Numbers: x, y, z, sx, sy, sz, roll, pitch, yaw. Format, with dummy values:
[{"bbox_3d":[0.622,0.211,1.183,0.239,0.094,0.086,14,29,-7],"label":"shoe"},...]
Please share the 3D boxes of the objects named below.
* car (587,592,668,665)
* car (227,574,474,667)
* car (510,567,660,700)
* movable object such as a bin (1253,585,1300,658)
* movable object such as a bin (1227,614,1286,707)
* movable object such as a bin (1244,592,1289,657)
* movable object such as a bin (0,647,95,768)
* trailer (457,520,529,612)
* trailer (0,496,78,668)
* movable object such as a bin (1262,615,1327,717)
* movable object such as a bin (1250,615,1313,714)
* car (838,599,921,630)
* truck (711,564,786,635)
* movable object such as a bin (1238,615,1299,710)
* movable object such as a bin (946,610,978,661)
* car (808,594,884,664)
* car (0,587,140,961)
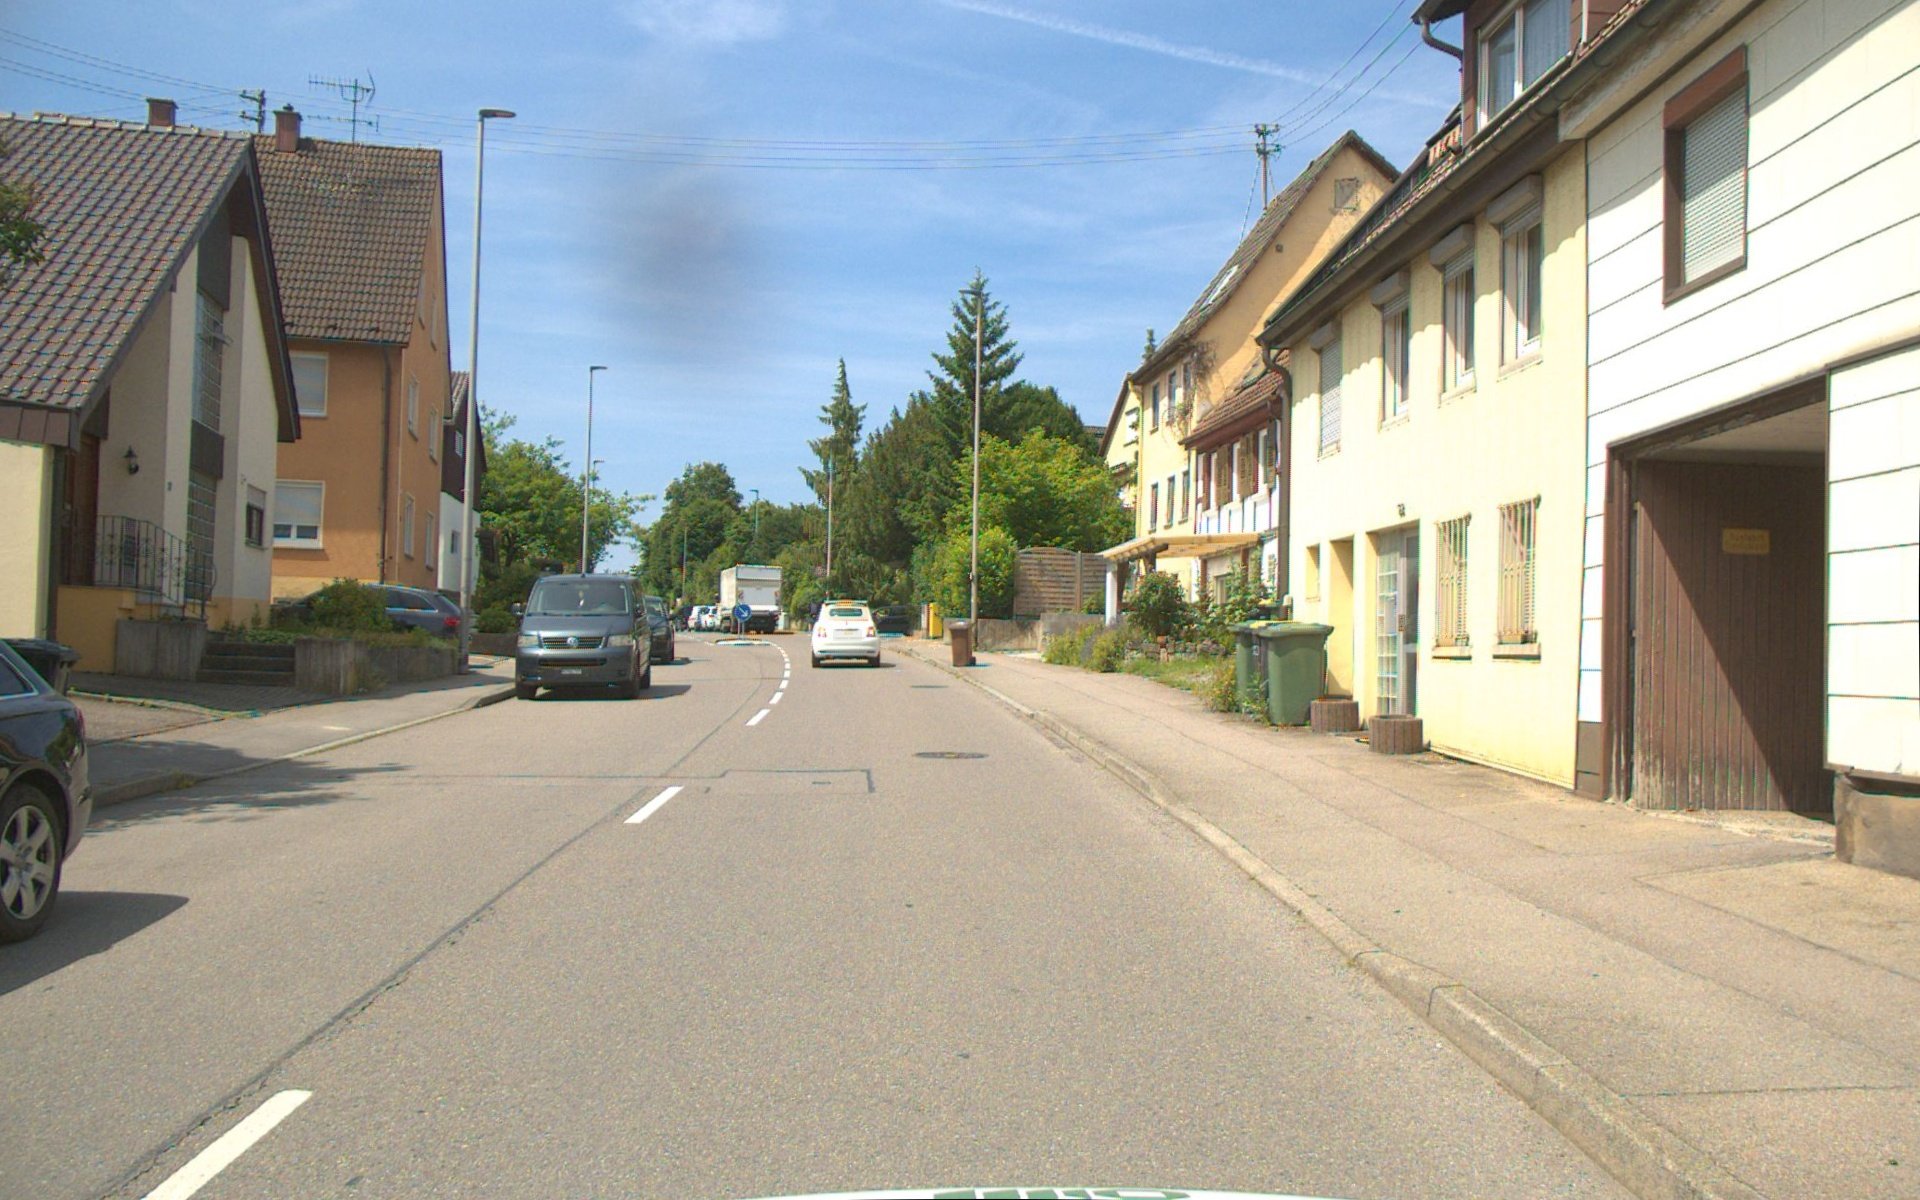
[{"bbox_3d":[-8.024,0.662,40.168,1.736,1.664,4.278,0,0,-9],"label":"car"},{"bbox_3d":[-11.706,0.386,32.030,4.154,1.430,1.816,5,-1,-12],"label":"car"},{"bbox_3d":[-6.087,0.510,27.347,1.855,1.971,4.979,-1,0,-7],"label":"car"},{"bbox_3d":[5.389,0.368,28.170,0.525,1.177,0.548,-6,0,-9],"label":"movable object such as a bin"},{"bbox_3d":[3.507,0.707,19.589,0.536,1.051,0.551,-2,0,-3],"label":"movable object such as a bin"},{"bbox_3d":[5.321,0.421,28.767,0.525,1.075,0.548,-6,0,-9],"label":"movable object such as a bin"},{"bbox_3d":[-7.304,0.848,13.223,0.491,0.918,0.584,2,-1,-8],"label":"movable object such as a bin"},{"bbox_3d":[-15.834,-1.079,56.312,1.681,2.898,6.159,1,0,-10],"label":"trailer"},{"bbox_3d":[-13.340,-0.431,20.298,3.761,2.048,1.996,7,-2,-8],"label":"trailer"},{"bbox_3d":[3.604,0.705,17.844,0.536,1.051,0.551,-2,0,-3],"label":"movable object such as a bin"},{"bbox_3d":[3.573,0.709,18.429,0.536,1.051,0.551,-2,0,-3],"label":"movable object such as a bin"},{"bbox_3d":[-3.925,0.724,80.246,3.863,1.483,1.654,0,-1,-11],"label":"car"},{"bbox_3d":[-12.047,0.038,93.697,3.019,3.840,7.832,0,-1,-16],"label":"truck"},{"bbox_3d":[3.543,0.711,19.008,0.536,1.051,0.551,-2,0,-3],"label":"movable object such as a bin"},{"bbox_3d":[0.050,0.763,35.565,0.484,1.051,0.549,-3,0,17],"label":"movable object such as a bin"},{"bbox_3d":[-2.774,0.679,39.641,1.691,1.587,3.995,0,0,-6],"label":"car"},{"bbox_3d":[-4.674,0.707,5.447,1.783,1.499,4.773,0,0,-3],"label":"car"}]
